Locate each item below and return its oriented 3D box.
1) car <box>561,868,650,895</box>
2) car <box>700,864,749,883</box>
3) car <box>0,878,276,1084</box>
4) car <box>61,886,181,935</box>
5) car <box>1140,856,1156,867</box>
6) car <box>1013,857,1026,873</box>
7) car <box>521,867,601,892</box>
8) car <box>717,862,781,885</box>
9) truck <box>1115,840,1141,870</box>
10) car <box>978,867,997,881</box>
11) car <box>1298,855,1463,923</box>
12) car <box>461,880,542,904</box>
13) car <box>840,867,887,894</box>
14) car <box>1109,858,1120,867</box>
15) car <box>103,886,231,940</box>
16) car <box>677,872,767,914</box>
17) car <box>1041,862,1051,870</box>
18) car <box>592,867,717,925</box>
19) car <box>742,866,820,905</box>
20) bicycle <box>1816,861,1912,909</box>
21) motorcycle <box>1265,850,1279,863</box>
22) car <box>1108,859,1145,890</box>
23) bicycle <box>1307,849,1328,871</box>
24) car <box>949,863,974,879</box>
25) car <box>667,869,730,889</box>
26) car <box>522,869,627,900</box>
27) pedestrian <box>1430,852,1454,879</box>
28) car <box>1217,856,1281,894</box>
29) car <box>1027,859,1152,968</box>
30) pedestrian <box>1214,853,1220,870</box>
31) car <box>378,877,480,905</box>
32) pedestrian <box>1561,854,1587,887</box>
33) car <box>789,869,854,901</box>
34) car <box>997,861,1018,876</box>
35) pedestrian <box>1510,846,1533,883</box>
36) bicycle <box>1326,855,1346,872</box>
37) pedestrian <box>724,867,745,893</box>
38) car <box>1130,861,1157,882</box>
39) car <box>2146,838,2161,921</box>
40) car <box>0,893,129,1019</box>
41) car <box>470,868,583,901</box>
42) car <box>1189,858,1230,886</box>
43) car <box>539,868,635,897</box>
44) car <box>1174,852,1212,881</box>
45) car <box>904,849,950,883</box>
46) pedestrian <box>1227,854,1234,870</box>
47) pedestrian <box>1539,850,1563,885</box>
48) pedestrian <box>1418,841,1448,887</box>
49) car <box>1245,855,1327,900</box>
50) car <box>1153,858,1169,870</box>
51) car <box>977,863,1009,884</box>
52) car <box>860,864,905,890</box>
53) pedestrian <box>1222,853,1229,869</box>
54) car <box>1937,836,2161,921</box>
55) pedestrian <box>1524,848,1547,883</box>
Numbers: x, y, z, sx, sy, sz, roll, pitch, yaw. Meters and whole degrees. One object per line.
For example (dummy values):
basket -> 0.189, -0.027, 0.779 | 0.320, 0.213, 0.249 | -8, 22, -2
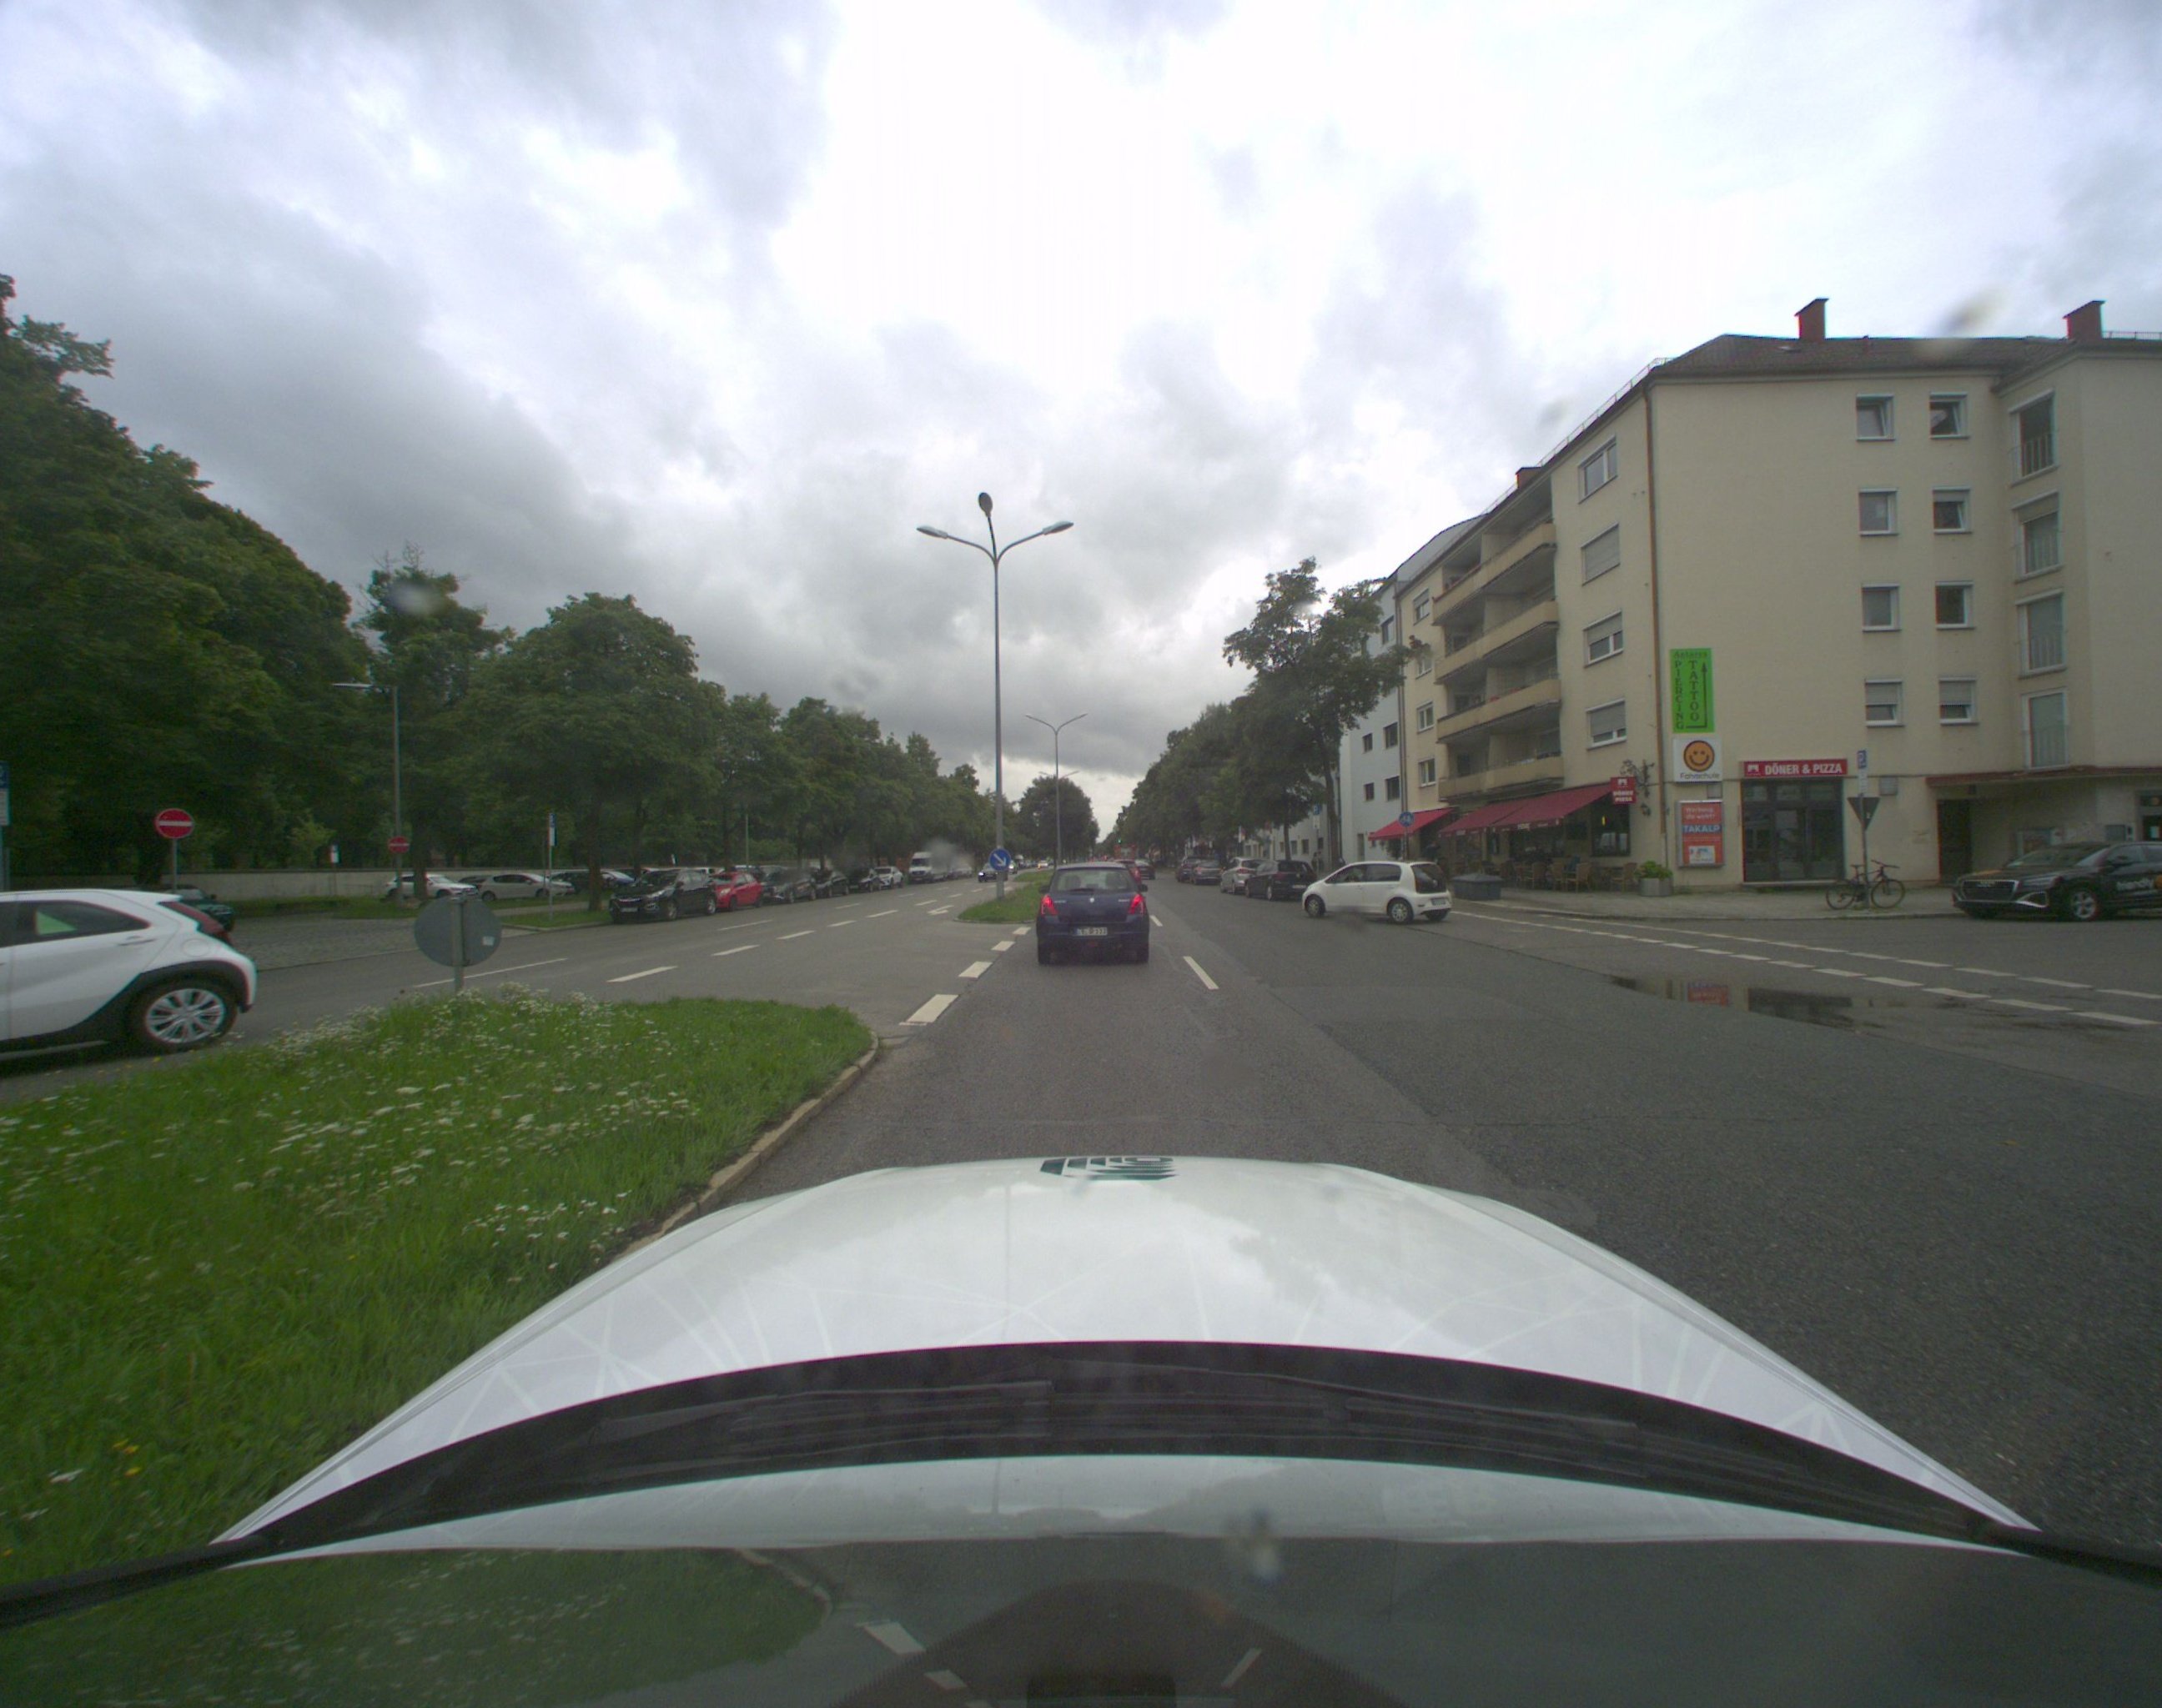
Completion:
car -> -27.625, 1.587, 47.430 | 3.979, 1.442, 1.997 | -1, 0, -5
car -> -39.400, 2.166, 90.086 | 4.490, 2.034, 2.000 | -1, 0, 0
car -> -9.375, 1.036, 6.597 | 1.804, 1.553, 3.744 | -1, 0, 33
car -> -31.312, 1.781, 26.538 | 4.411, 1.409, 1.871 | -1, 0, 32
car -> 9.316, 1.073, 113.194 | 1.986, 1.452, 4.001 | -1, 0, 2
car -> -12.132, 2.137, 160.476 | 2.179, 2.954, 6.188 | -1, 0, -1
car -> -37.433, 1.829, 58.698 | 4.490, 1.625, 2.000 | -1, 0, 0
car -> -24.816, 1.433, 60.959 | 3.970, 1.570, 1.816 | -2, 0, 3
truck -> 5.976, 0.197, 105.271 | 3.030, 3.557, 13.681 | -1, 0, 2
car -> -12.171, 2.584, 106.056 | 1.881, 1.537, 4.313 | -4, 0, 0
car -> 7.239, 0.808, 19.916 | 1.699, 1.490, 3.397 | -1, 0, -36
car -> -37.509, 2.451, 52.747 | 3.967, 1.372, 1.881 | -2, 0, 6
car -> -13.058, 1.550, 49.080 | 1.817, 1.447, 3.996 | -3, 0, -3
car -> 6.364, 1.577, 153.823 | 1.823, 1.522, 3.770 | -1, 0, 0
car -> -27.032, 1.677, 24.078 | 3.809, 1.409, 1.871 | -1, 0, 32
car -> -13.925, 1.475, 31.838 | 1.815, 1.479, 3.809 | -1, -1, 0
car -> -6.784, 2.323, 157.544 | 1.756, 1.537, 4.312 | -4, 0, -1
car -> -13.804, 1.307, 26.644 | 1.815, 1.700, 4.239 | -1, -1, 0
car -> -13.508, 1.394, 36.891 | 1.814, 1.599, 4.115 | -2, -1, 3
bicycle -> 17.391, 0.681, 18.106 | 1.532, 1.011, 0.554 | -1, -1, 4
motorcycle -> 16.813, 0.192, 71.884 | 0.758, 1.086, 2.200 | -2, 0, 2
car -> 2.276, 1.000, 41.643 | 1.712, 1.501, 4.301 | -1, 0, 1
bicycle -> 16.431, 0.415, 56.721 | 0.700, 1.407, 2.593 | -3, -1, 2
car -> -12.254, 1.738, 83.564 | 1.851, 1.491, 4.141 | -1, -1, 0
car -> -29.889, 1.922, 63.786 | 3.979, 1.442, 1.997 | -1, 0, -5
car -> -26.149, 1.550, 42.141 | 4.123, 1.442, 1.999 | -1, 0, -1
pedestrian -> 16.038, 0.514, 36.182 | 0.741, 1.163, 0.647 | -1, -1, 1
car -> 7.174, 0.853, 35.162 | 1.823, 1.522, 4.523 | -1, 0, 0
car -> 0.200, 0.859, 13.595 | 1.746, 1.505, 4.002 | -1, 0, 2
pedestrian -> 14.041, 0.729, 83.886 | 0.498, 1.733, 0.733 | -1, -1, 1
car -> -38.385, 2.165, 47.983 | 4.484, 1.442, 2.003 | -1, 0, 4
pedestrian -> 16.187, 0.528, 26.759 | 0.536, 1.054, 0.487 | -1, -1, 1
car -> -13.395, 1.564, 42.317 | 1.813, 1.409, 4.004 | -3, -1, 4
car -> -8.727, 1.753, 96.929 | 1.844, 1.600, 4.404 | -3, 0, 2
pedestrian -> 16.521, 0.388, 30.525 | 0.536, 1.339, 0.552 | -1, -1, 0
bicycle -> 16.423, 0.590, 52.485 | 0.619, 1.046, 2.196 | -5, -1, 2
pedestrian -> -20.669, 1.569, 48.603 | 0.792, 1.495, 0.856 | -2, -1, 1
car -> 4.732, 1.306, 62.025 | 1.815, 1.477, 4.691 | 1, 0, 1
car -> 20.698, 0.392, 13.132 | 4.189, 1.442, 2.002 | -1, 0, 4
car -> -14.326, 1.342, 9.481 | 1.634, 1.499, 4.002 | -3, 0, 2
car -> -26.594, 1.447, 39.182 | 3.979, 1.442, 1.997 | -1, 0, -5
car -> 7.474, 1.012, 47.706 | 1.823, 1.522, 3.770 | -1, 0, 0
car -> -26.997, 1.517, 44.647 | 3.979, 1.442, 1.997 | -1, 0, -5
car -> 7.192, 0.806, 52.773 | 1.823, 1.746, 4.507 | -1, 0, 0
car -> -12.774, 0.954, 68.136 | 2.132, 2.643, 7.108 | -3, 0, 2
pedestrian -> 15.485, 0.837, 84.193 | 0.539, 1.640, 0.725 | -1, -1, 1
pedestrian -> 16.286, 0.468, 28.242 | 0.536, 1.214, 0.487 | -1, -1, 1
pedestrian -> 15.148, 0.419, 35.082 | 0.870, 1.929, 0.757 | -1, -1, -15
car -> 7.380, 0.812, 29.694 | 1.825, 1.473, 3.883 | -1, 0, -3
car -> 11.854, 1.446, 120.417 | 1.986, 1.643, 4.334 | -1, 0, 2
car -> -6.664, 1.440, 62.183 | 1.809, 1.448, 4.782 | -2, 0, 1
car -> -13.136, 1.507, 54.108 | 1.815, 1.528, 4.298 | -3, -1, 0
pedestrian -> 14.858, 0.751, 83.857 | 0.547, 1.629, 0.641 | -3, -1, 1
car -> 19.581, 0.446, 15.910 | 3.913, 1.519, 1.730 | -1, 0, -1
pedestrian -> 16.355, 0.411, 29.307 | 0.536, 1.268, 0.487 | -1, -1, 0
